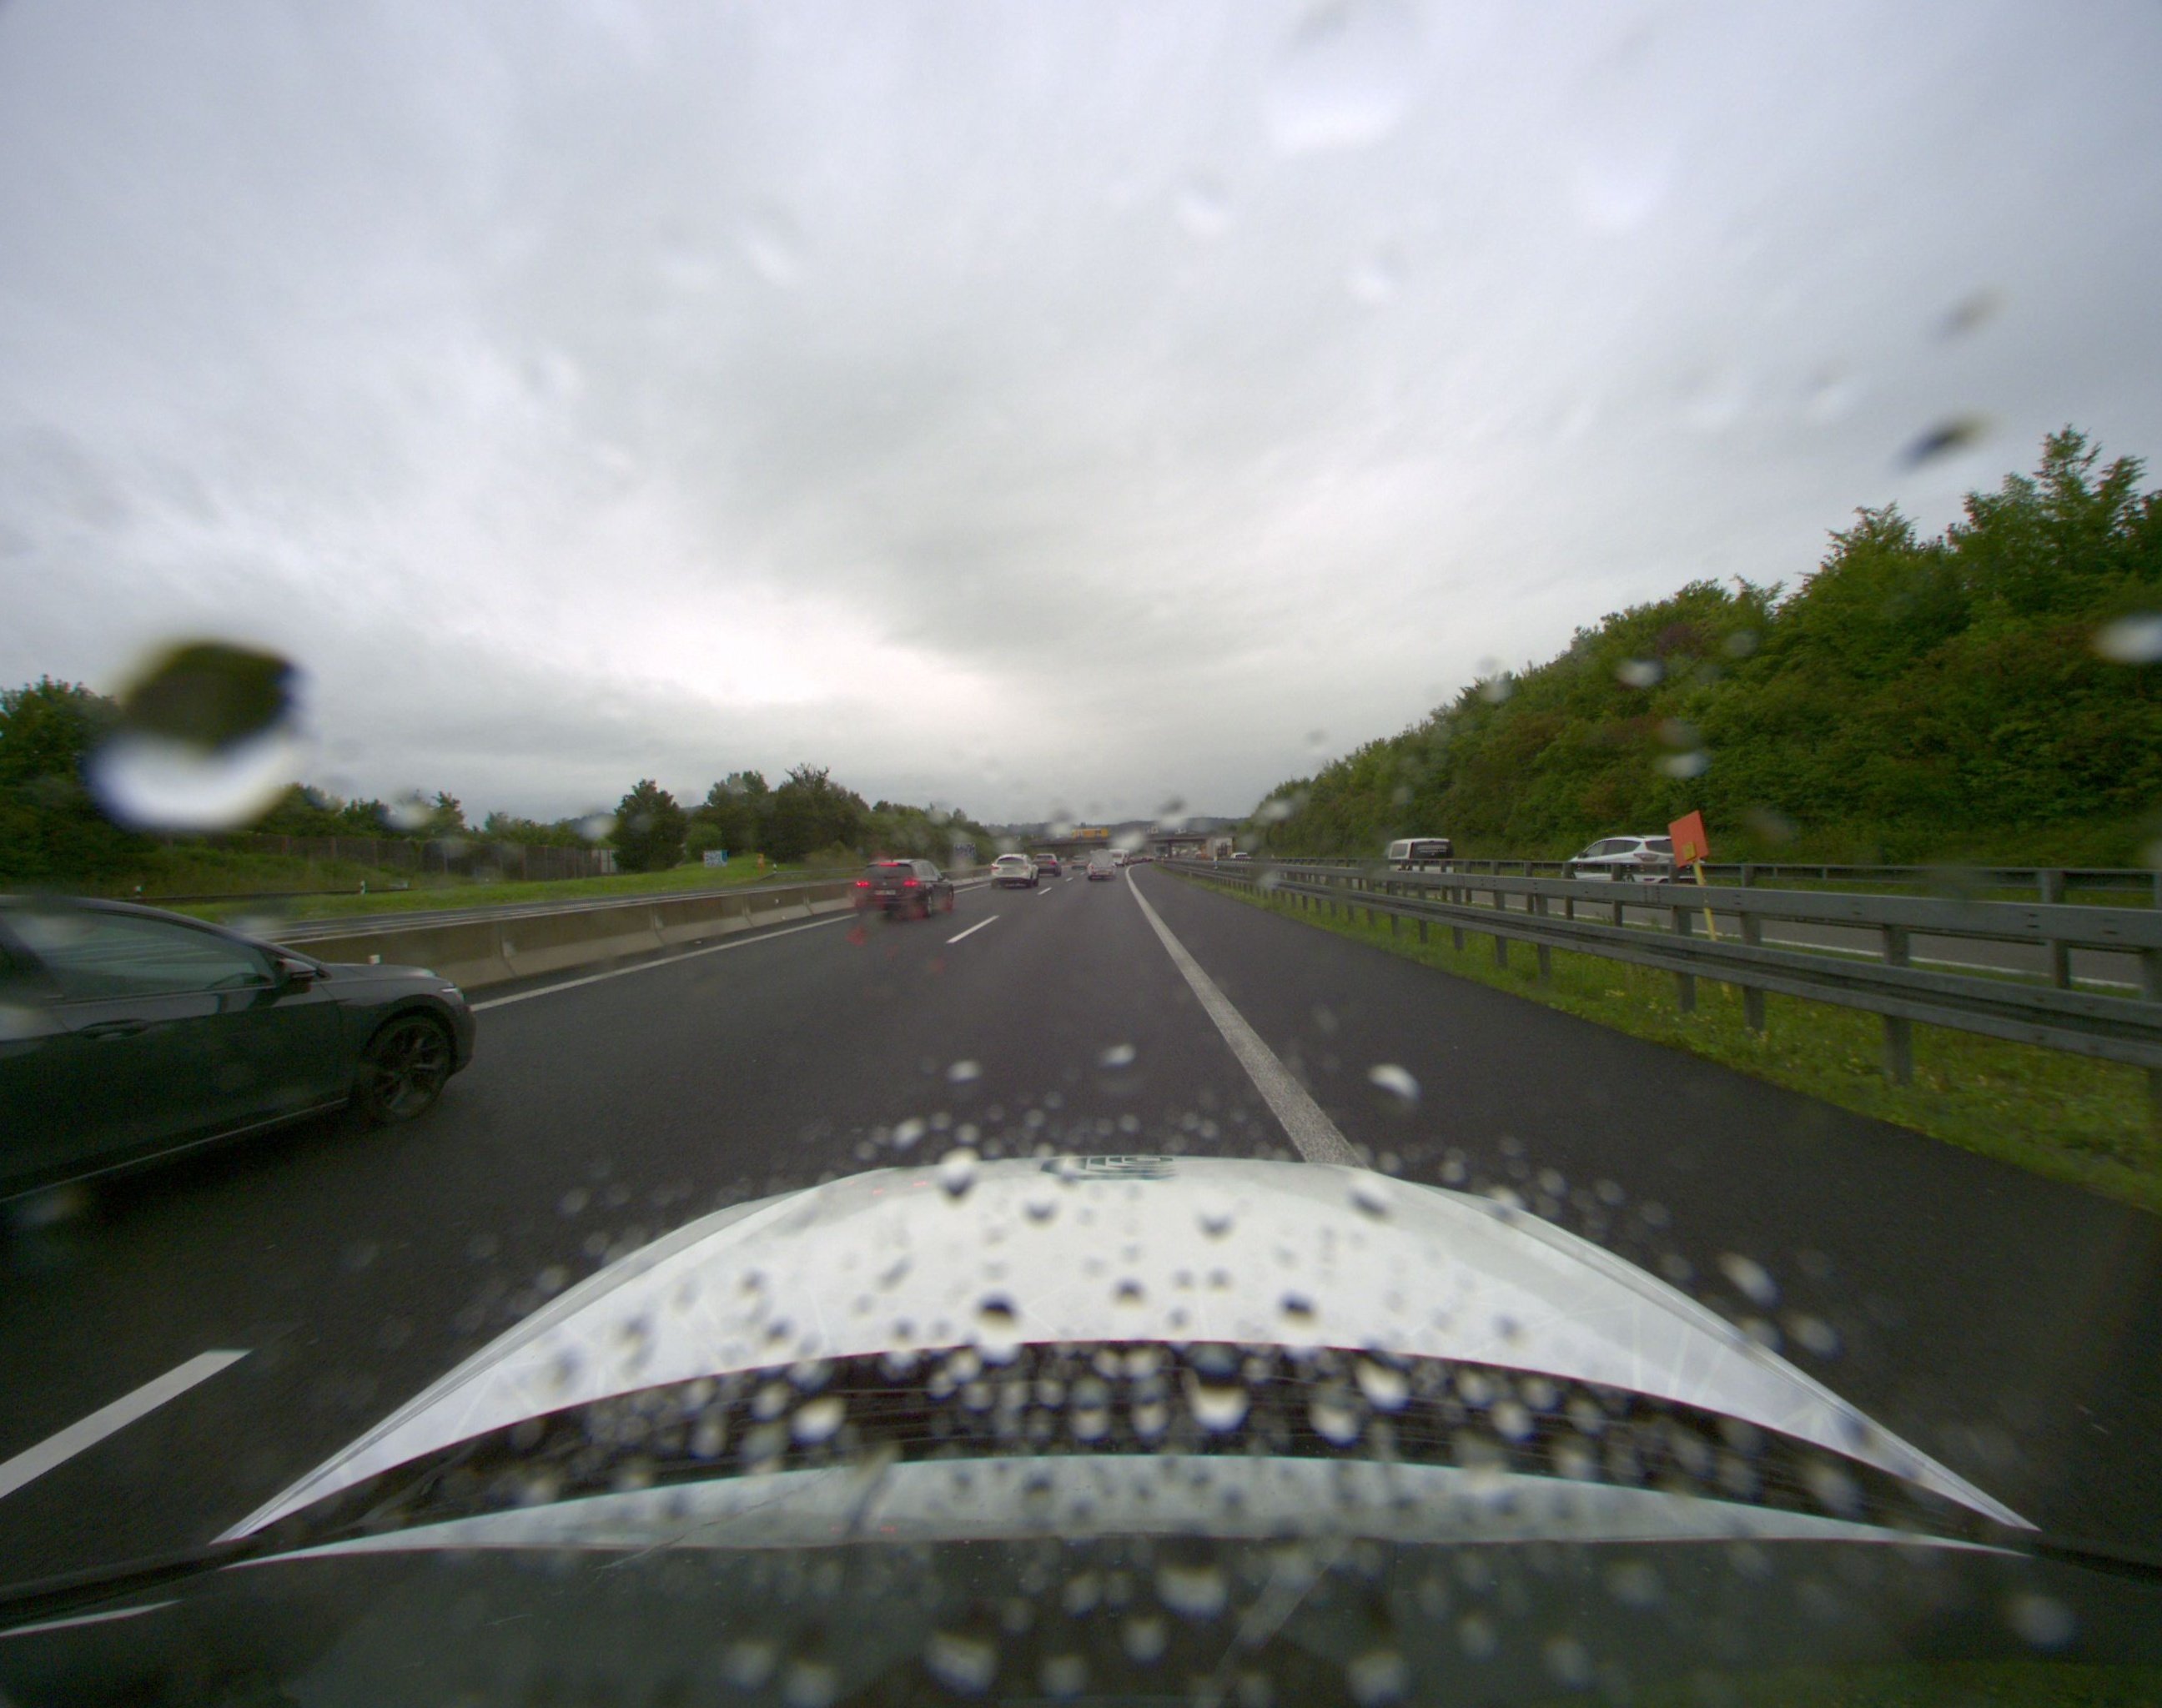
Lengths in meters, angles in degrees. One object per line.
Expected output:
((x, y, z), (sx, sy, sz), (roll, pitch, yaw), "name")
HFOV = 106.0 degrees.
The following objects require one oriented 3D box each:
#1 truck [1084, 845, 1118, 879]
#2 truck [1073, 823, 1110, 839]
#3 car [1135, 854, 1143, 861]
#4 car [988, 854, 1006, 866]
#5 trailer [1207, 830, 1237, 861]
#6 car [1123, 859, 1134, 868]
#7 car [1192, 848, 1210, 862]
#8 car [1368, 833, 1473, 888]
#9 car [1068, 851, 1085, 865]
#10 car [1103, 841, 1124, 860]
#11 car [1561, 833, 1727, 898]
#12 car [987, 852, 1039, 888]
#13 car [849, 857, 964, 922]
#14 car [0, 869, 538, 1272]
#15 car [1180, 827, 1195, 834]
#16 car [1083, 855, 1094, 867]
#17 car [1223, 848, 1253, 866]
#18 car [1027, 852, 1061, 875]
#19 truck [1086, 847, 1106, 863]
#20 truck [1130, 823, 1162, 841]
((1.303, 0.445, 51.937), (2.011, 1.985, 7.216), (-1, 0, 2), "truck")
((3.271, -7.440, 266.940), (3.795, 4.836, 15.077), (-1, 0, -36), "truck")
((15.064, 0.910, 212.556), (1.985, 1.750, 4.003), (0, 0, 3), "car")
((-11.741, 0.775, 114.330), (1.975, 1.614, 4.423), (1, 0, 2), "car")
((21.032, -1.279, 122.281), (3.421, 4.289, 10.468), (-1, 0, 5), "trailer")
((9.844, 1.970, 167.875), (1.988, 1.750, 3.998), (0, 0, -1), "car")
((16.496, 0.097, 112.356), (1.853, 1.805, 4.648), (-1, 0, 0), "car")
((12.233, 0.227, 29.663), (2.002, 1.815, 4.275), (-1, 0, 0), "car")
((-0.539, 0.450, 98.152), (1.894, 1.613, 4.017), (-1, 0, 0), "car")
((4.861, -0.516, 120.612), (3.004, 2.616, 6.080), (-1, 0, 3), "car")
((15.602, 0.290, 22.879), (1.889, 1.612, 4.148), (-1, 0, 2), "car")
((-3.255, 0.730, 40.049), (1.968, 1.639, 4.503), (-1, 0, 2), "car")
((-4.513, 0.866, 21.862), (1.893, 1.497, 4.853), (-1, 0, 1), "car")
((-4.904, 0.844, 3.616), (1.894, 1.405, 4.460), (-1, 0, 1), "car")
((29.771, -6.520, 227.272), (1.851, 1.915, 3.955), (0, 0, -37), "car")
((1.225, 1.088, 131.837), (1.836, 1.819, 4.000), (-1, 0, 0), "car")
((14.466, 0.296, 75.169), (2.000, 1.548, 4.698), (-1, 0, 2), "car")
((-2.731, 0.660, 61.046), (2.166, 1.631, 4.502), (-1, 0, 2), "car")
((3.667, 0.246, 195.214), (3.749, 3.554, 13.203), (-1, 0, 5), "truck")
((19.433, -6.545, 243.311), (3.795, 4.836, 9.933), (-1, 0, -36), "truck")
